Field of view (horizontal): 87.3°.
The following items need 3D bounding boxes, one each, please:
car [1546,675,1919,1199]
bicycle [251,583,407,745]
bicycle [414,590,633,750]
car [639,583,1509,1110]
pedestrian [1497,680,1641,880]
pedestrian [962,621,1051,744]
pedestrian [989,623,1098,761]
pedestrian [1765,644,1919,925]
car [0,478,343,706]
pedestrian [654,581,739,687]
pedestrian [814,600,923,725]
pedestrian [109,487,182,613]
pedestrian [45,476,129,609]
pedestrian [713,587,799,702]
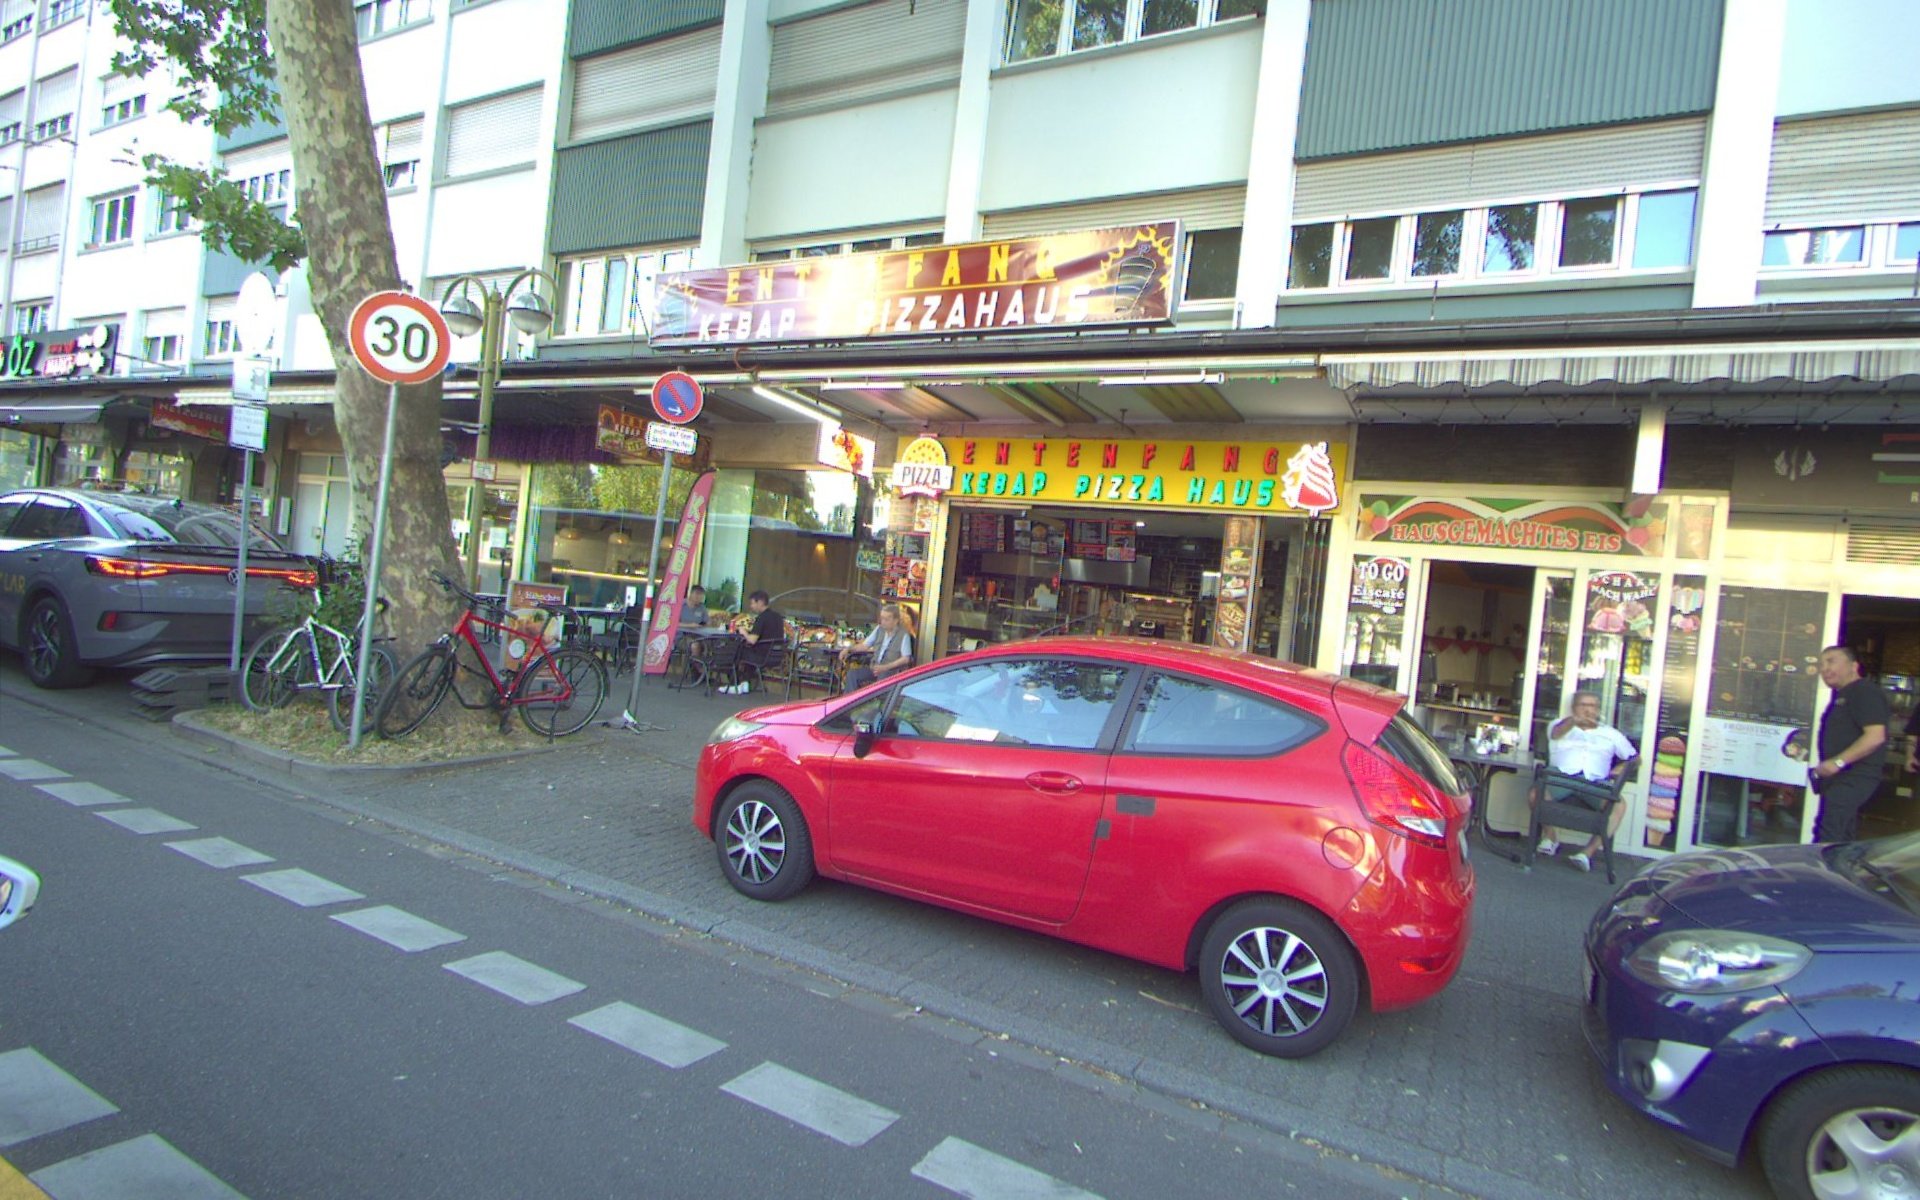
[{"bbox_3d":[3.862,1.225,2.913,3.543,1.485,1.620,7,2,29],"label":"car"},{"bbox_3d":[-4.454,0.427,7.088,1.110,0.941,0.295,9,6,21],"label":"bicycle"},{"bbox_3d":[-3.242,0.507,7.566,0.291,1.082,1.455,12,7,42],"label":"bicycle"},{"bbox_3d":[0.468,0.848,5.002,3.780,1.448,1.668,7,2,27],"label":"car"},{"bbox_3d":[4.628,1.297,7.631,0.767,1.249,1.202,6,3,33],"label":"pedestrian"},{"bbox_3d":[0.483,0.827,10.390,0.585,1.172,0.671,6,3,31],"label":"pedestrian"},{"bbox_3d":[0.786,0.836,9.444,0.740,1.172,0.593,6,3,33],"label":"pedestrian"},{"bbox_3d":[6.054,1.210,6.871,0.579,1.759,0.596,8,3,29],"label":"pedestrian"},{"bbox_3d":[-7.850,-0.202,9.221,4.223,1.619,1.742,7,2,27],"label":"car"},{"bbox_3d":[-3.245,0.409,12.369,0.694,1.220,0.675,7,3,42],"label":"pedestrian"},{"bbox_3d":[-0.988,0.664,10.874,0.861,1.237,0.688,2,3,-44],"label":"pedestrian"},{"bbox_3d":[-13.915,-0.846,17.190,0.685,2.039,0.613,7,1,31],"label":"pedestrian"},{"bbox_3d":[-14.167,-0.930,16.336,0.684,2.039,0.692,7,1,28],"label":"pedestrian"},{"bbox_3d":[-2.400,0.511,11.807,0.701,1.260,0.614,7,3,41],"label":"pedestrian"}]
